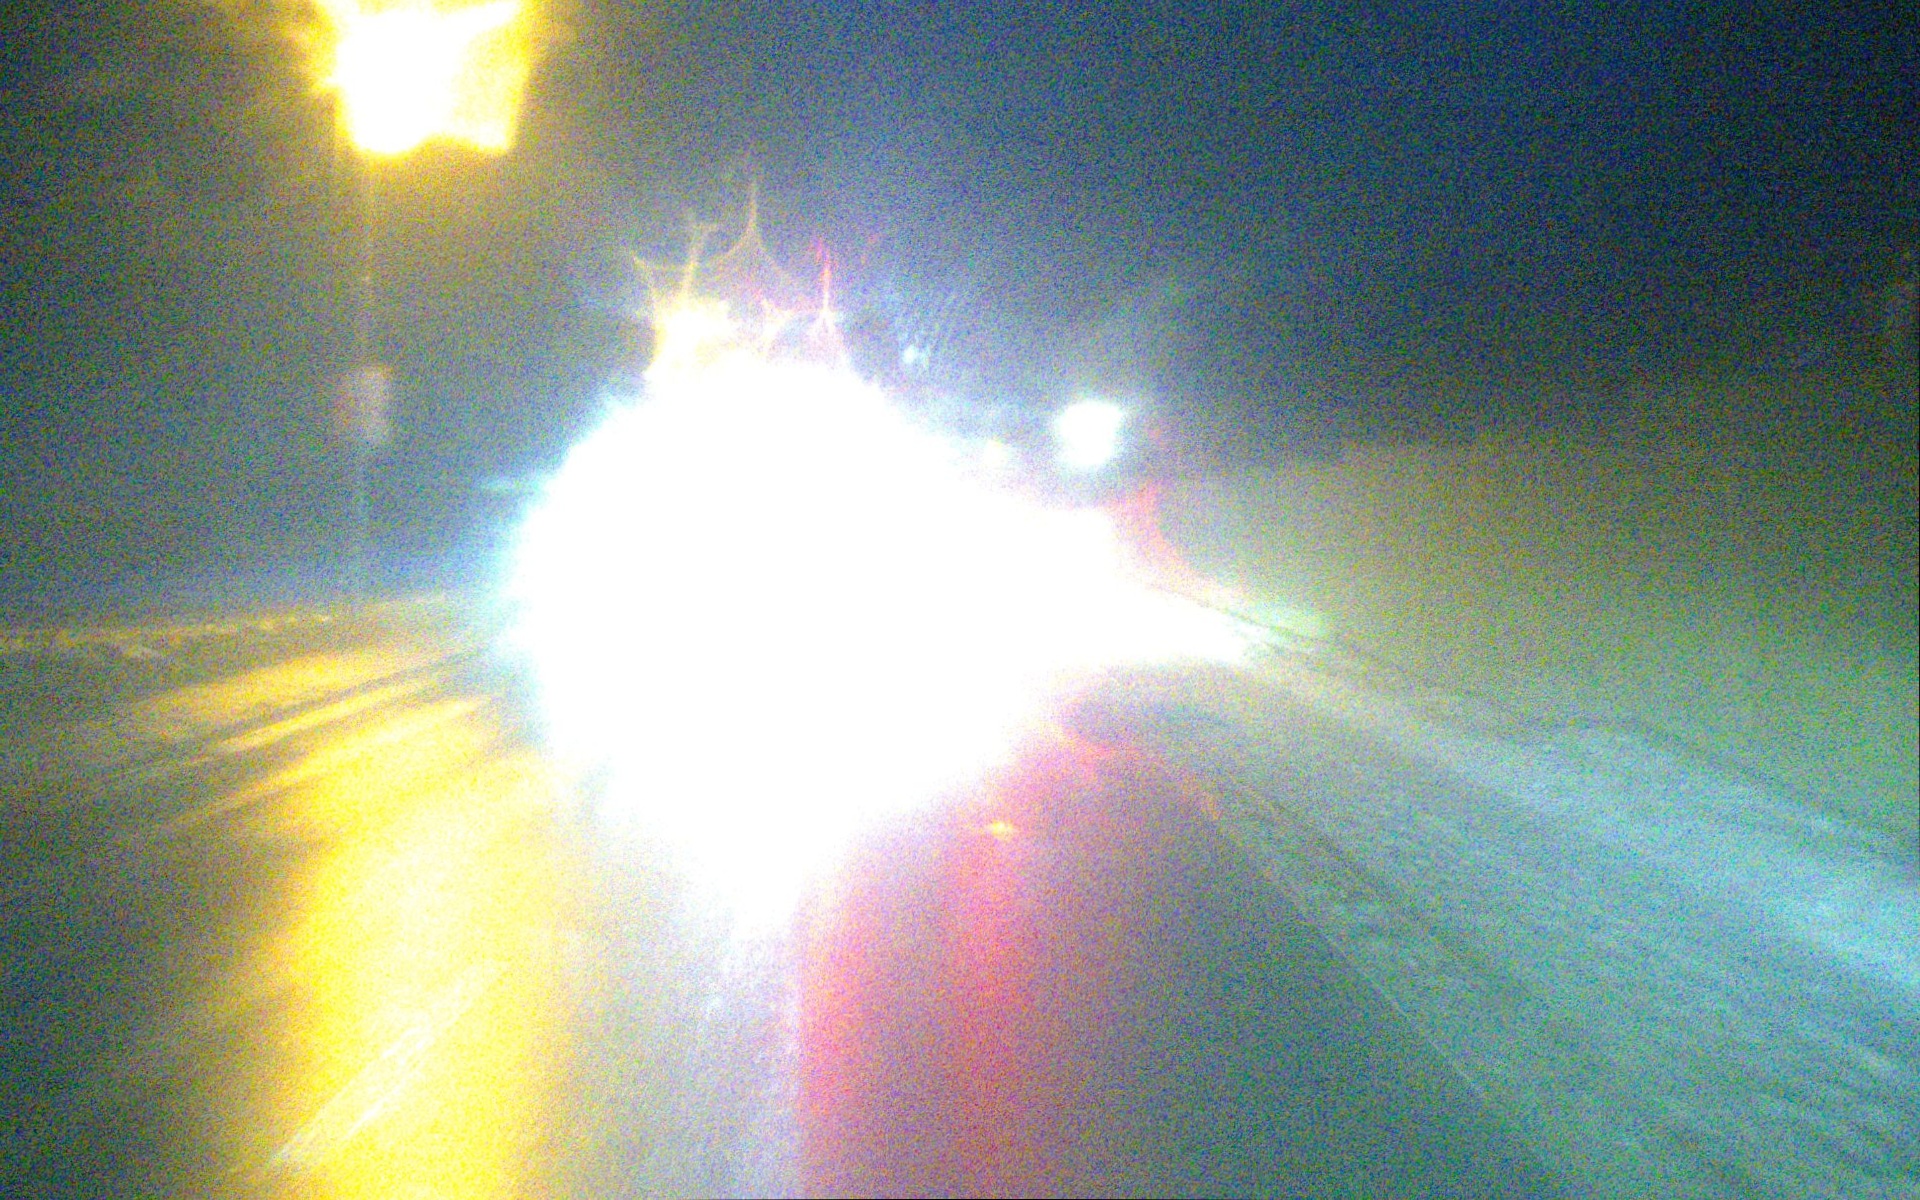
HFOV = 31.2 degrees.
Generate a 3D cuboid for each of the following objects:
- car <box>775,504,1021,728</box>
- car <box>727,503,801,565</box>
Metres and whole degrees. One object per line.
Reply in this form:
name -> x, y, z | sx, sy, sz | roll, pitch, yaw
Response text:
car -> -0.484, 0.107, 27.917 | 1.801, 1.623, 3.615 | 3, 0, 0
car -> -4.979, -1.683, 87.670 | 1.731, 1.513, 4.016 | 1, 1, -2
